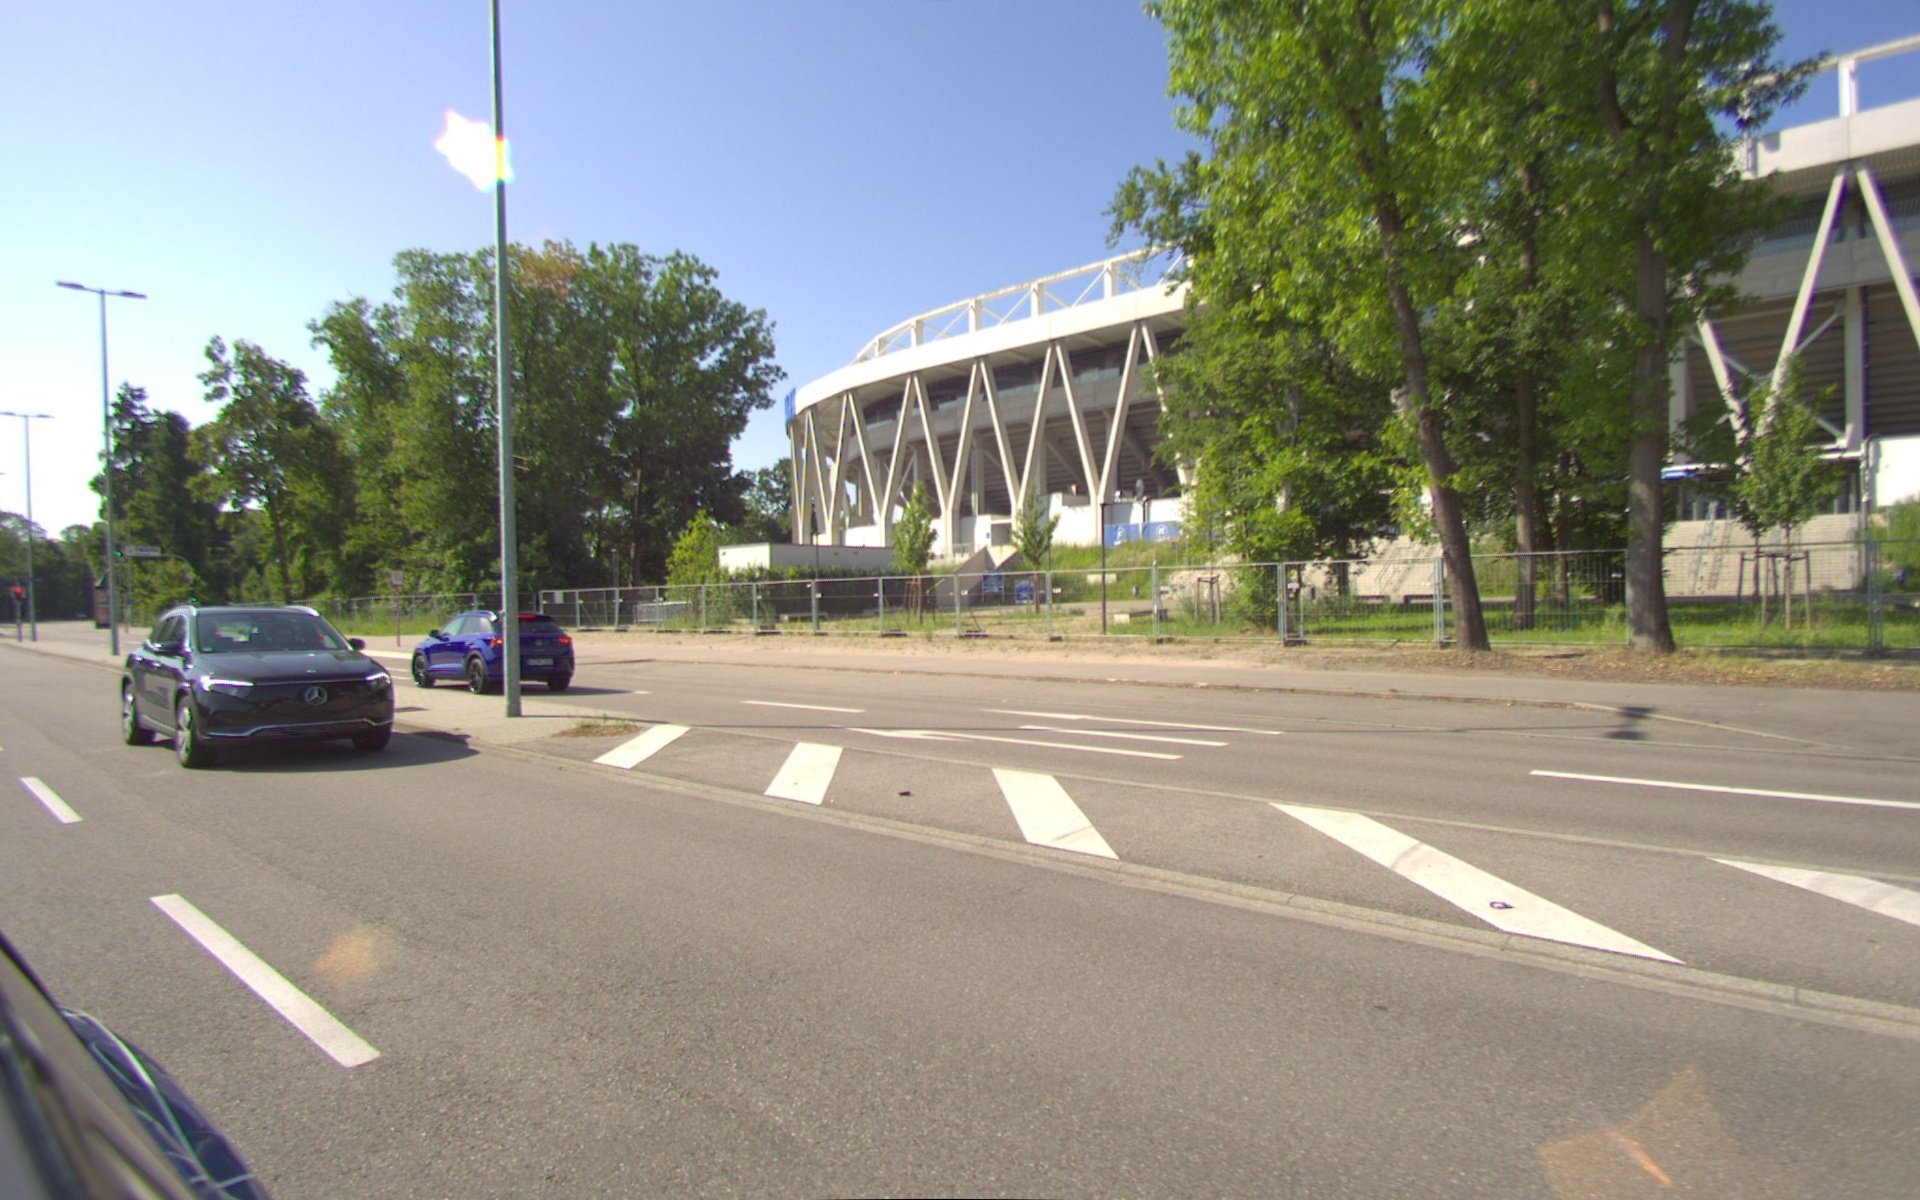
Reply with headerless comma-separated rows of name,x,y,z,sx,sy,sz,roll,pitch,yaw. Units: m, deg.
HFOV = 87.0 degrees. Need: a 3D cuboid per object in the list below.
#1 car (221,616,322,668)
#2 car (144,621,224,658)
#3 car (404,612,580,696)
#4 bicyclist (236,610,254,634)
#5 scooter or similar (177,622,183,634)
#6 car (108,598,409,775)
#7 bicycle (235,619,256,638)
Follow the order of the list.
car,-20.730,1.235,30.408,3.799,1.478,1.606,-1,-2,42
car,-31.187,1.566,40.650,4.160,1.398,1.791,-1,-2,42
car,-9.323,1.013,20.024,3.946,1.497,1.735,-1,-2,42
bicyclist,-45.502,1.399,64.405,1.057,1.478,0.653,-2,1,42
scooter or similar,-75.837,2.678,98.416,0.390,1.154,1.198,-1,0,-40
car,-7.934,0.836,11.294,4.271,1.608,1.785,-1,-2,42
bicycle,-45.508,1.793,64.450,1.878,1.144,0.653,-2,1,42
